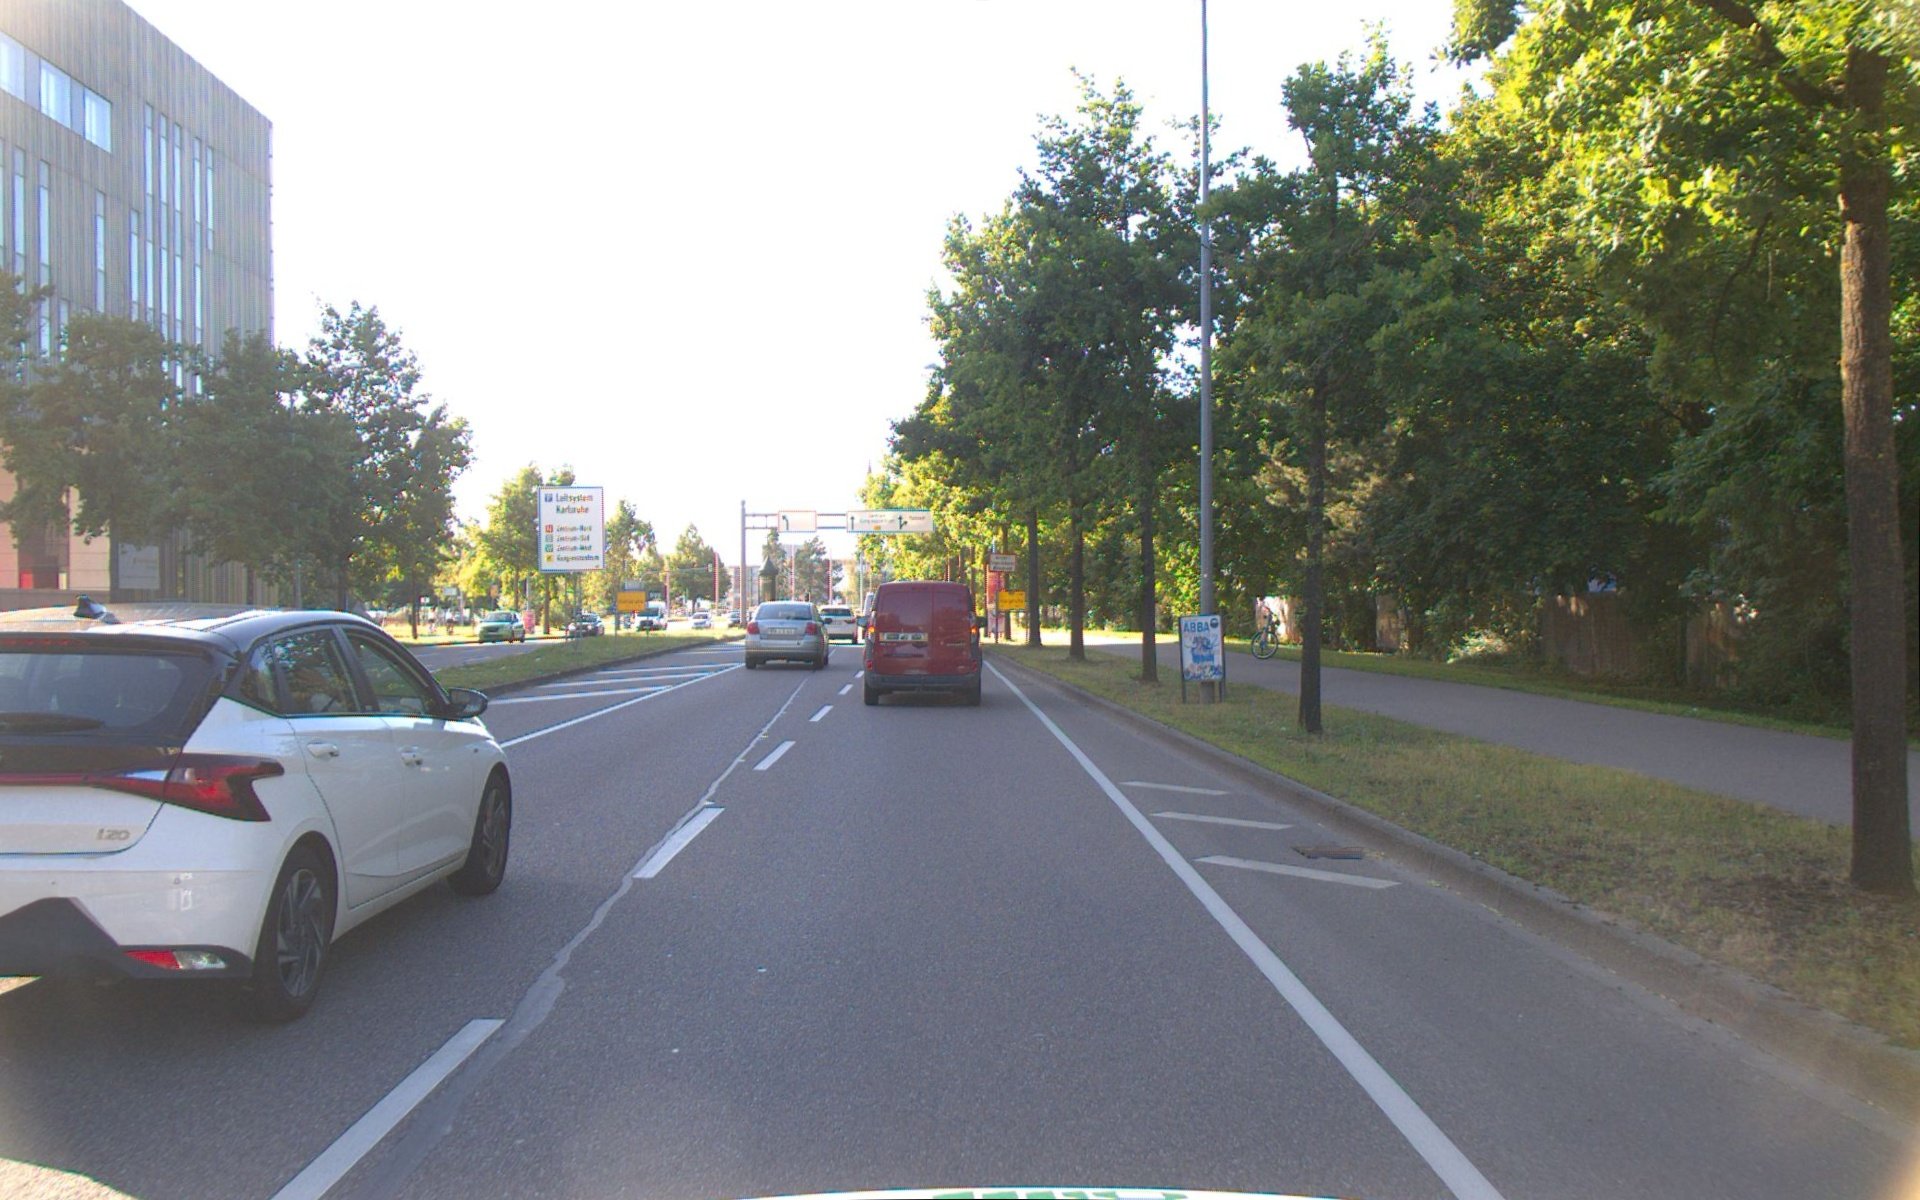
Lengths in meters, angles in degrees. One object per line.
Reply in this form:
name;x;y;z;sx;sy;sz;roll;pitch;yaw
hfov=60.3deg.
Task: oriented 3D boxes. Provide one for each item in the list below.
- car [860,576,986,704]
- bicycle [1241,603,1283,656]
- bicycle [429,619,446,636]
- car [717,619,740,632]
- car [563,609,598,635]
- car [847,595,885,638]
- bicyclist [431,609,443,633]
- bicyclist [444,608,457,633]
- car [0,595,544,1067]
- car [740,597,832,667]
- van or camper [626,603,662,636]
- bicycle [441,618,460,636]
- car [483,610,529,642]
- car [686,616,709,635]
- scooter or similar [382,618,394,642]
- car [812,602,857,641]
car;-0.634;0.576;25.450;1.770;1.790;4.003;1;0;-3
bicycle;6.804;0.649;37.311;0.757;1.151;1.709;0;0;5
bicycle;-31.093;1.640;98.457;0.477;1.021;2.094;-1;-1;-4
car;-20.423;2.250;146.223;1.792;1.131;4.170;-1;0;-5
car;-23.593;1.351;102.940;1.520;1.534;4.023;0;0;-4
car;-4.255;0.739;74.945;1.628;1.889;3.556;0;0;-3
bicyclist;-31.091;1.235;98.376;0.473;1.419;0.844;-1;-1;-4
bicyclist;-30.161;1.211;97.948;0.551;1.417;0.747;-1;-1;-4
car;-3.139;0.701;7.070;1.742;1.433;4.074;0;0;-1
car;-3.894;0.685;37.545;1.804;1.482;4.160;1;0;-3
van or camper;-24.808;1.507;129.951;1.954;2.410;5.989;-2;0;-3
bicycle;-30.151;1.591;97.883;0.559;1.021;2.094;-1;-1;-4
car;-21.415;1.214;78.087;1.417;1.461;3.456;-1;0;-4
car;-22.003;2.155;138.670;1.655;1.502;4.045;-1;0;-5
scooter or similar;-29.110;1.525;84.183;0.226;1.169;1.327;0;-1;-3
car;-4.720;0.793;62.745;1.628;1.422;3.556;0;0;-3
